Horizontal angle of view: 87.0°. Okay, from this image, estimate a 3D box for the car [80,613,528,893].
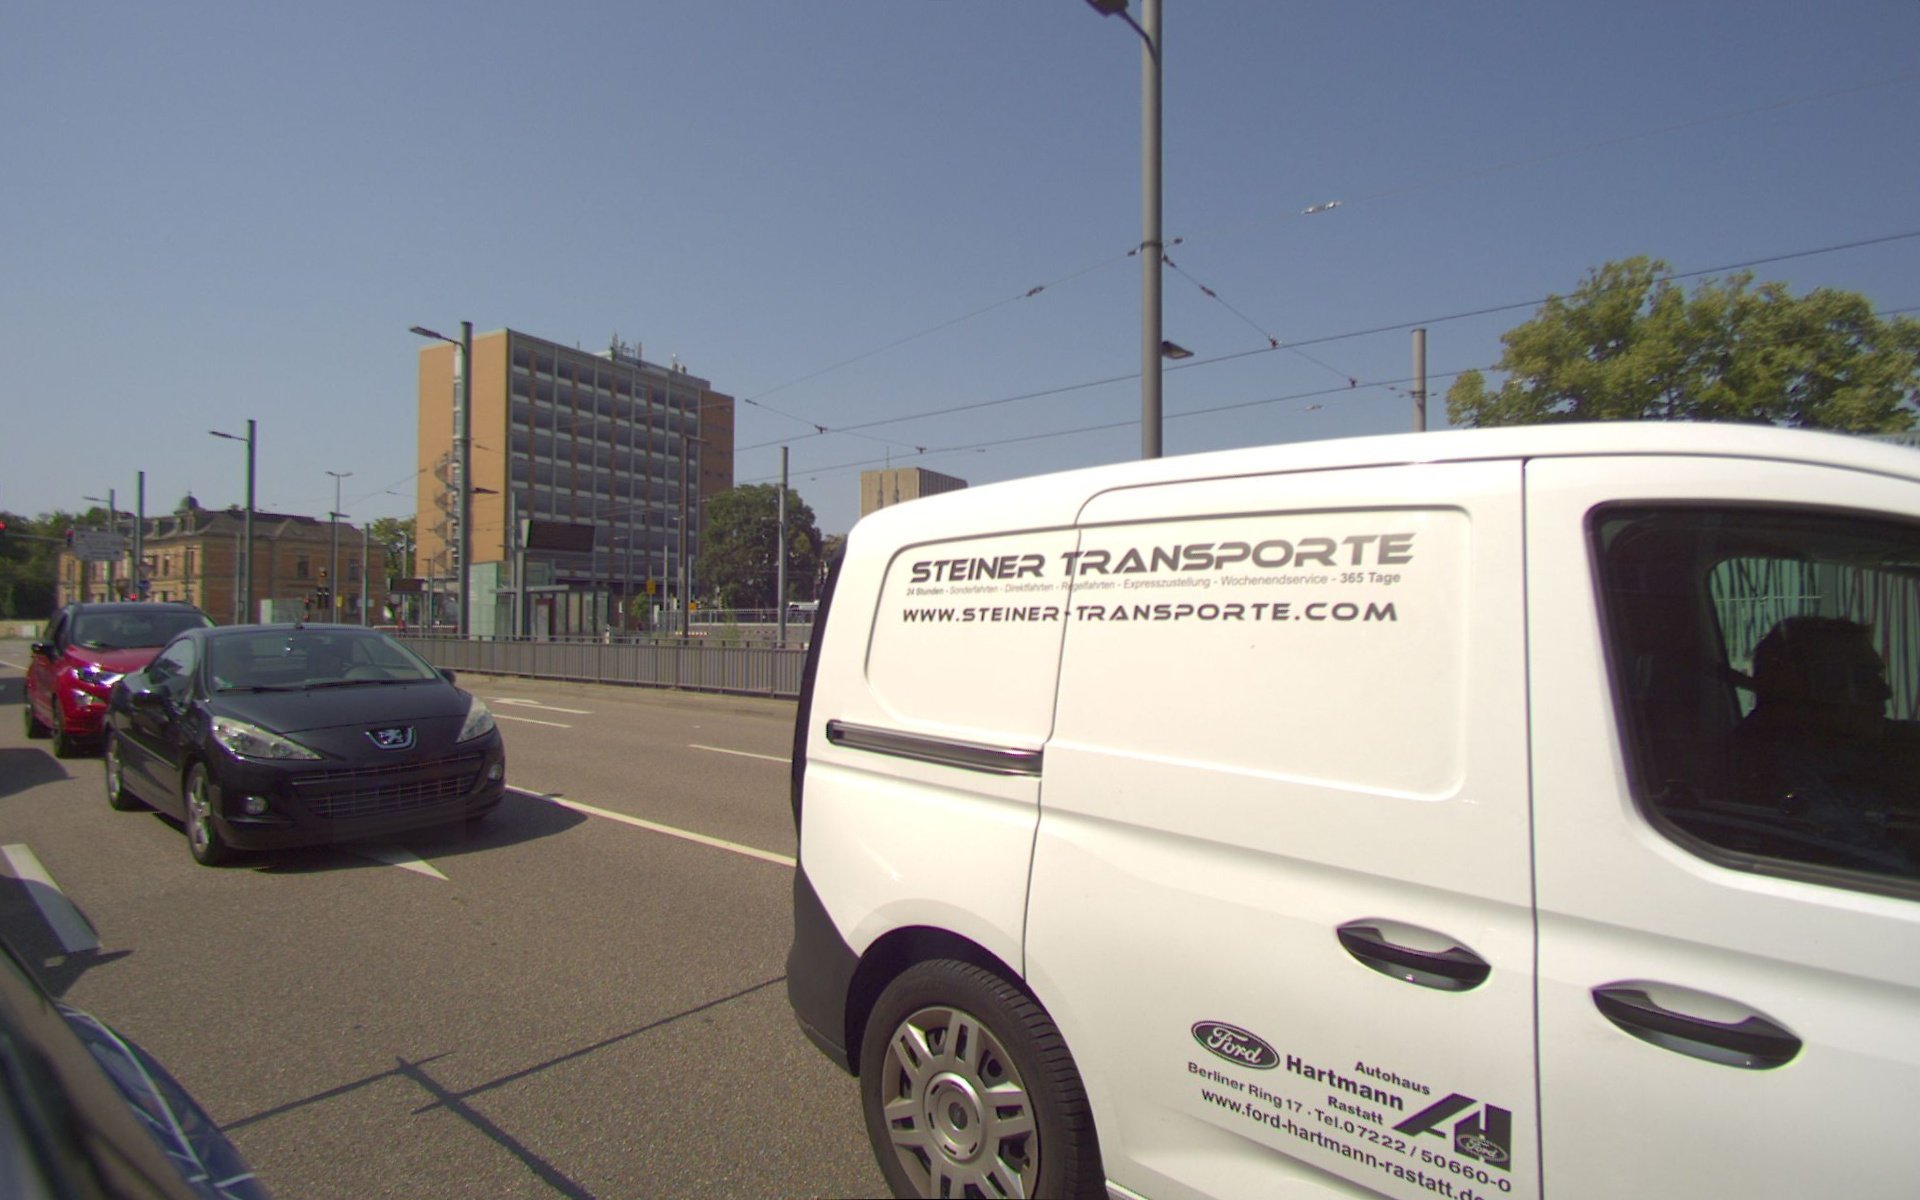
[{"bbox_3d":[-4.745,0.827,7.106,3.799,1.424,1.671,-1,-1,41],"label":"car"}]

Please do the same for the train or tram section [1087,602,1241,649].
[{"bbox_3d":[16.587,2.110,82.616,12.180,3.794,2.002,0,-2,-4],"label":"train or tram section"}]

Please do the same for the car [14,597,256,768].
[{"bbox_3d":[-9.552,0.823,11.608,3.967,1.633,1.612,-1,-1,43],"label":"car"}]

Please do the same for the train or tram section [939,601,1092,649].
[{"bbox_3d":[4.435,2.073,81.713,12.180,3.794,2.002,0,-2,-4],"label":"train or tram section"}]

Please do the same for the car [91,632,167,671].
[{"bbox_3d":[-33.060,2.017,40.221,4.572,1.446,1.727,-3,-2,43],"label":"car"}]

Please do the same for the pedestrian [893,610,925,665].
[{"bbox_3d":[-1.680,1.240,33.410,0.761,1.801,0.735,-2,-3,42],"label":"pedestrian"}]

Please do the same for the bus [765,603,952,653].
[{"bbox_3d":[-7.323,1.994,73.615,13.205,3.319,3.354,-1,0,-4],"label":"bus"}]

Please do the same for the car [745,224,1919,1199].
[{"bbox_3d":[1.600,0.493,1.857,4.237,1.834,1.729,-1,-1,41],"label":"car"}]
